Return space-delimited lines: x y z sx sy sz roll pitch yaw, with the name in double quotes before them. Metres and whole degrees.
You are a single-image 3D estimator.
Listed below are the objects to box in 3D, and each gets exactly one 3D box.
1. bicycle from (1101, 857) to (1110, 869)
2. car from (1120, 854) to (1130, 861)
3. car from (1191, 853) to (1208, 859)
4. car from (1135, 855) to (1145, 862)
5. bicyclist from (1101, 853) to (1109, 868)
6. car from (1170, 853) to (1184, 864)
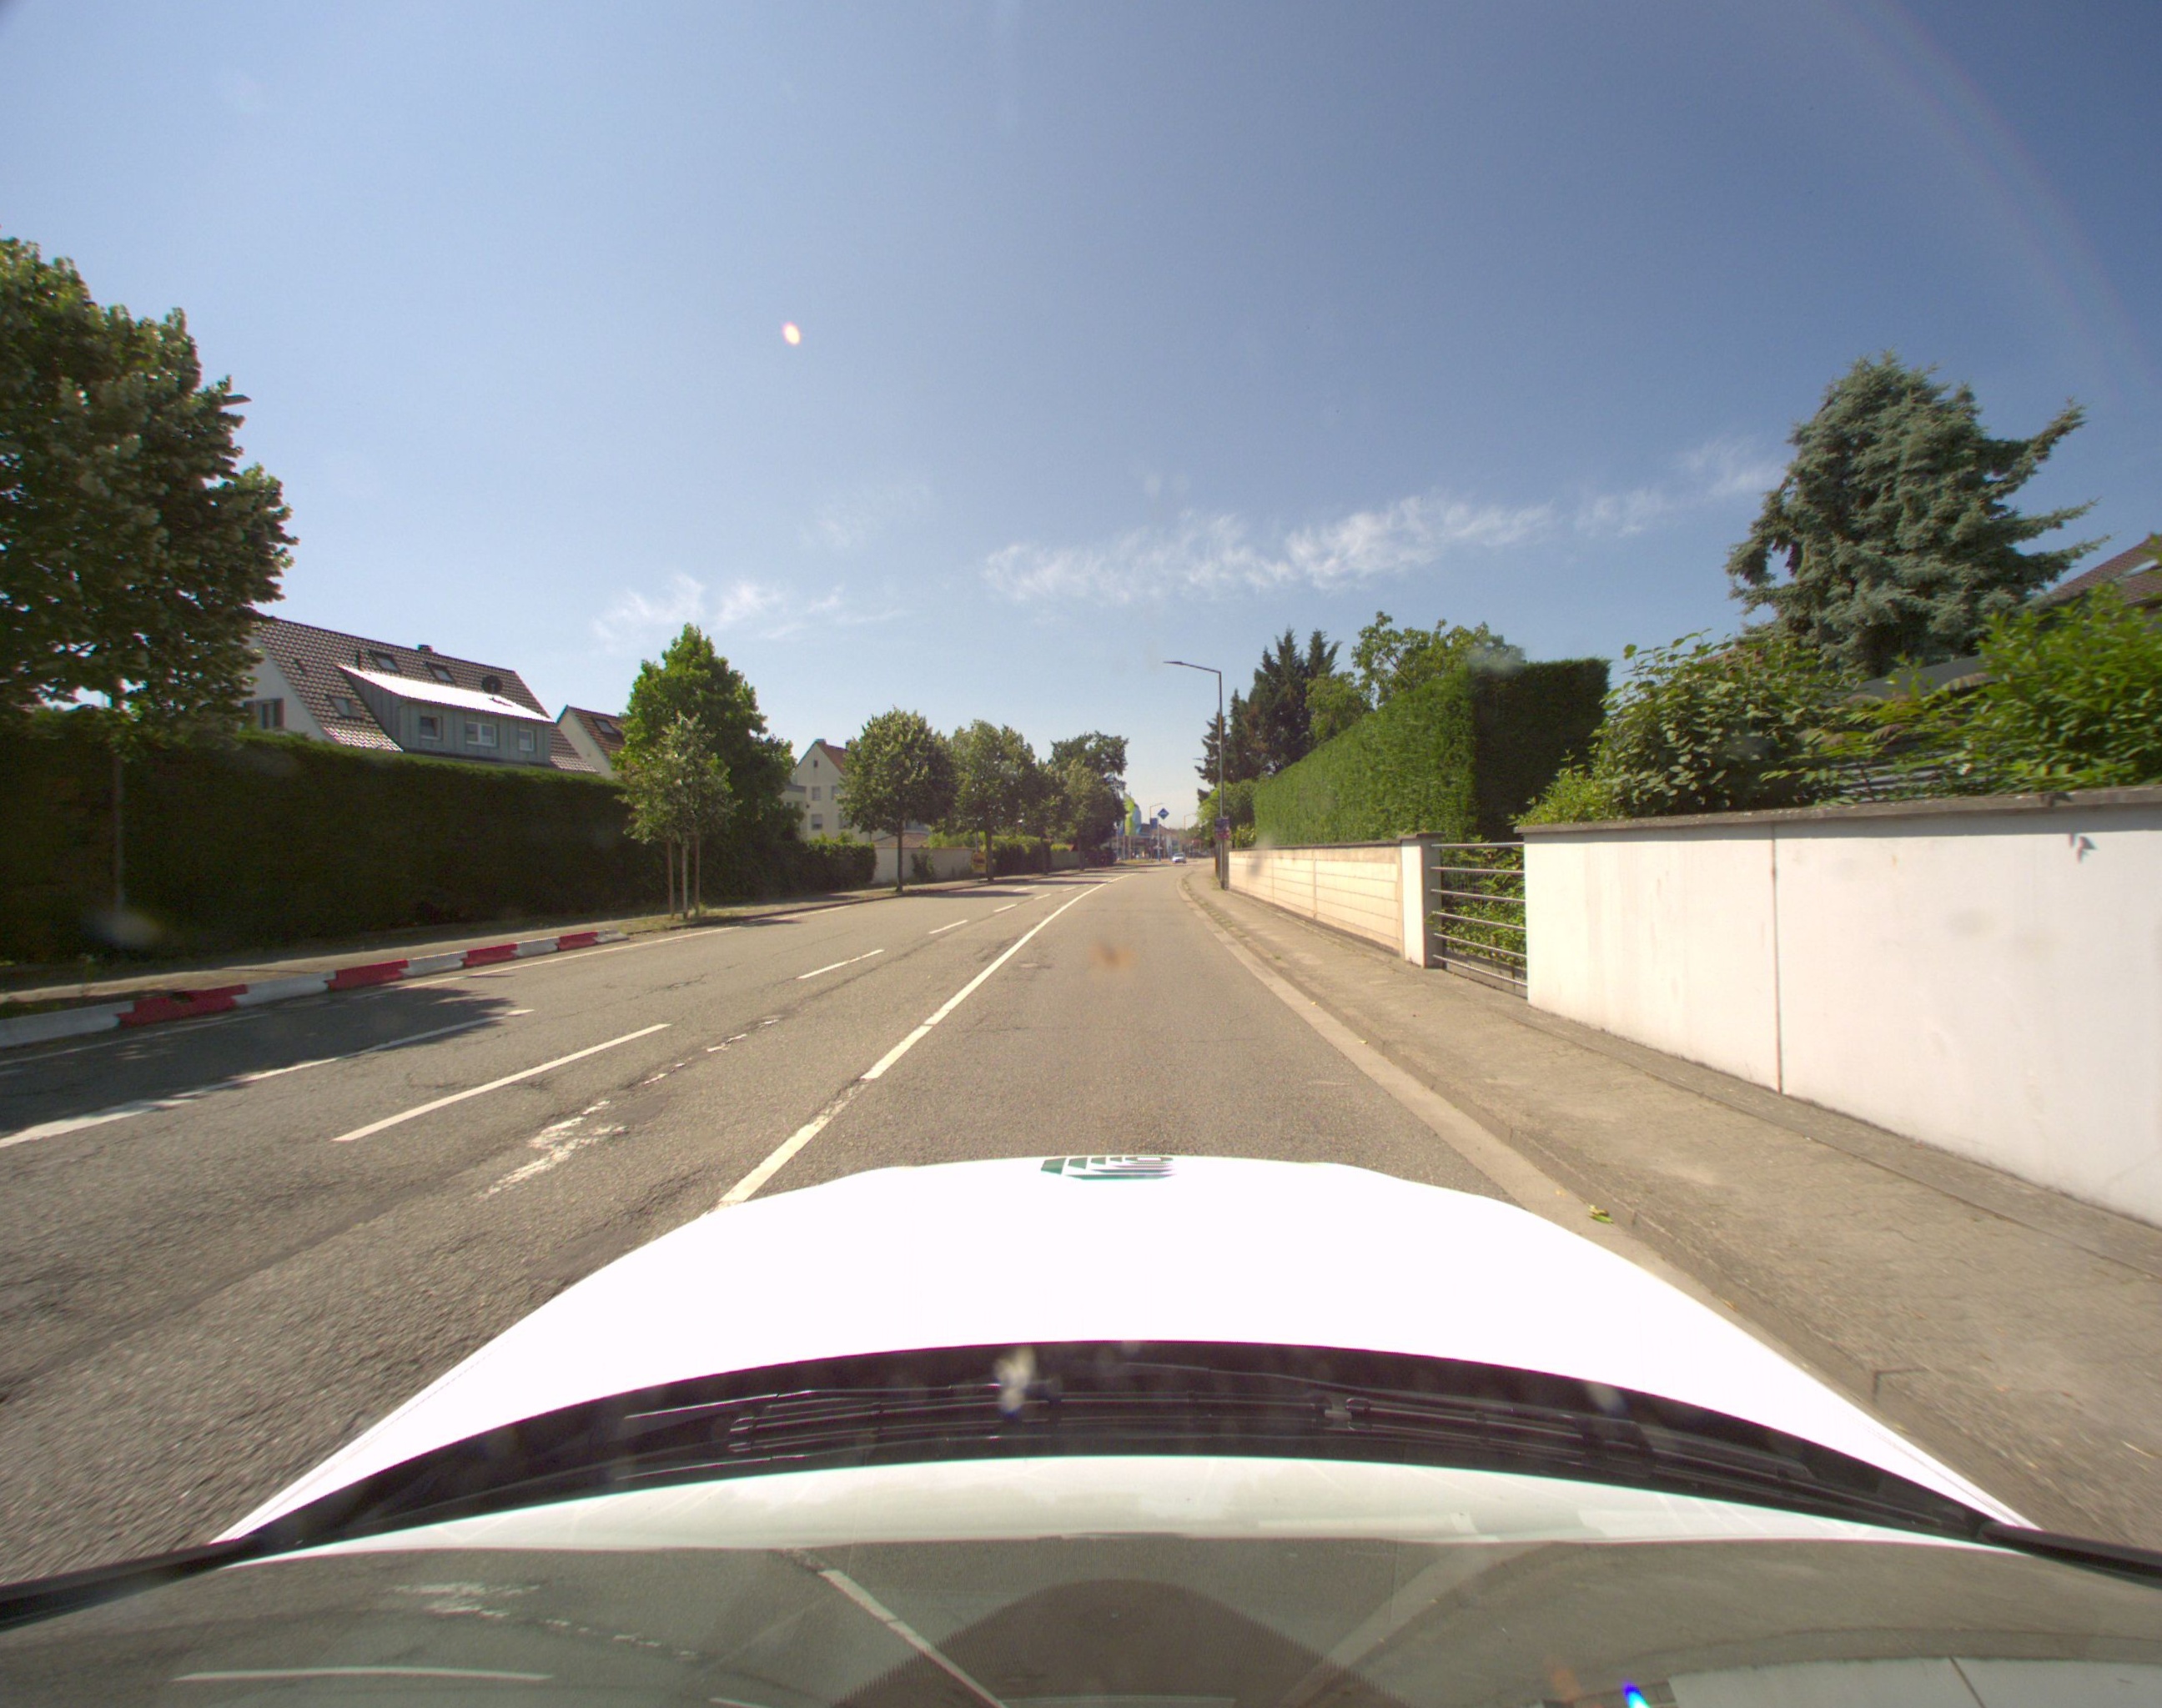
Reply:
"bicycle" 2.417 0.935 81.382 0.628 1.180 1.821 -1 0 11
"car" 9.399 0.785 172.861 1.607 1.420 3.722 -2 -1 10
"car" 29.141 0.447 199.953 3.961 1.508 1.559 -1 0 11
"car" 12.473 0.860 172.623 1.607 1.420 3.722 -2 -1 10
"bicyclist" 2.406 0.650 81.331 0.624 1.409 0.678 -1 -1 10
"car" 13.677 0.625 115.857 1.601 1.482 3.718 0 0 11
